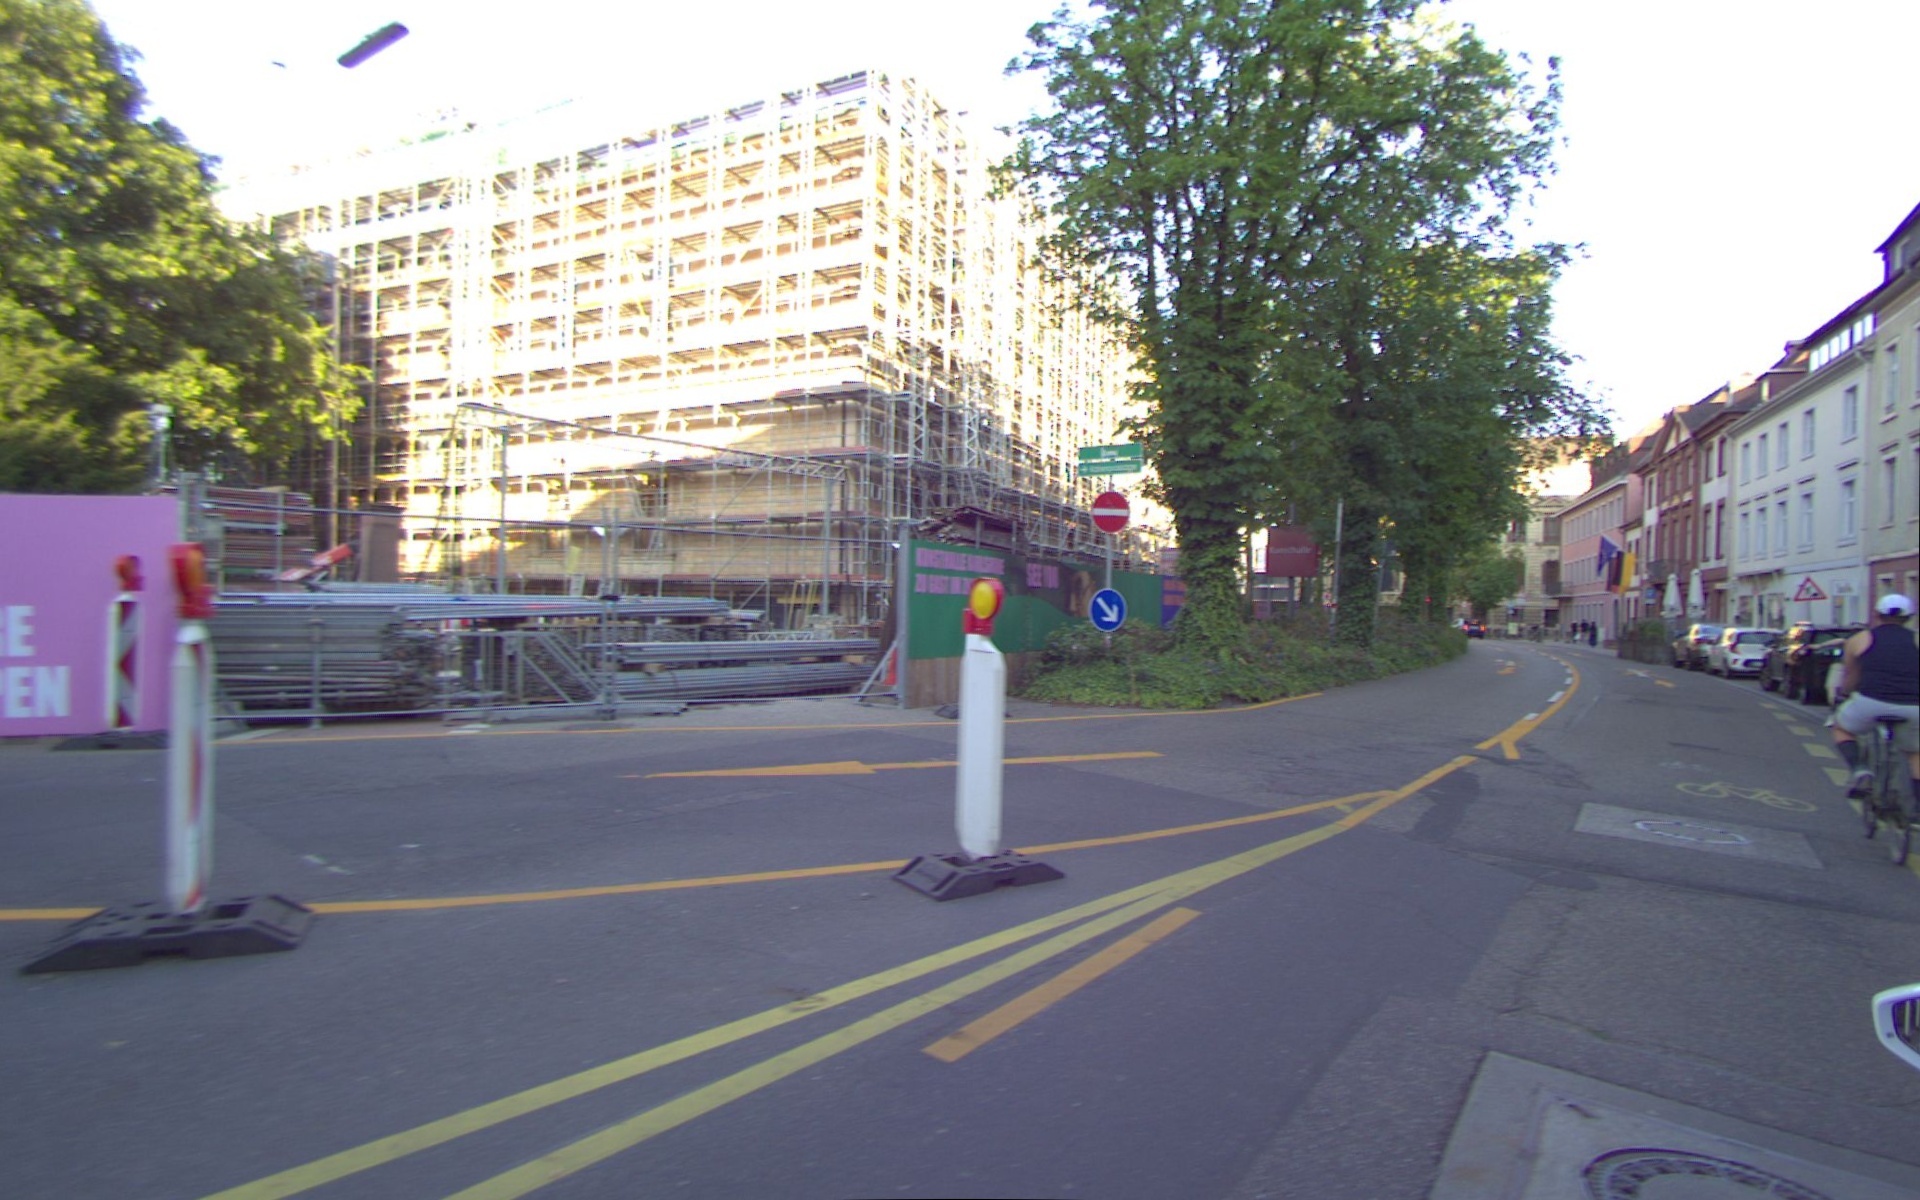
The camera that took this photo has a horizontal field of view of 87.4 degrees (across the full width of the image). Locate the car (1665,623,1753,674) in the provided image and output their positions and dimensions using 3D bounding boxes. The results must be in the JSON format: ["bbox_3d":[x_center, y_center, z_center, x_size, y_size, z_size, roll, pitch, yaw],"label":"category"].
[{"bbox_3d":[25.316,1.589,34.060,1.785,1.581,3.859,1,0,28],"label":"car"}]

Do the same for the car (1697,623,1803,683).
[{"bbox_3d":[23.424,1.508,29.922,1.785,1.581,3.859,1,0,28],"label":"car"}]

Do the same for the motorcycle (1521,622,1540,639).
[{"bbox_3d":[43.287,2.318,76.230,1.025,1.265,2.397,1,0,24],"label":"motorcycle"}]

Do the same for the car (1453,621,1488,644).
[{"bbox_3d":[39.073,2.455,76.909,1.782,1.581,3.865,1,0,18],"label":"car"}]

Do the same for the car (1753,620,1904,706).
[{"bbox_3d":[19.577,1.342,22.830,1.785,1.706,3.993,1,0,29],"label":"car"}]

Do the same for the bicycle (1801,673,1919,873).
[{"bbox_3d":[6.292,1.106,6.786,0.660,1.085,1.896,3,1,33],"label":"bicycle"}]

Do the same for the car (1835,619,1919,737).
[{"bbox_3d":[15.408,1.186,15.978,1.788,1.705,3.907,1,0,35],"label":"car"}]

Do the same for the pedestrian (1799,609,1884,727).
[{"bbox_3d":[14.870,1.116,16.977,0.887,1.890,0.930,1,0,32],"label":"pedestrian"}]

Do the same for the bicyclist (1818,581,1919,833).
[{"bbox_3d":[6.262,0.689,6.693,0.659,1.587,0.696,4,1,33],"label":"bicyclist"}]

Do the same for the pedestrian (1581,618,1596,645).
[{"bbox_3d":[43.178,2.170,69.008,0.738,1.785,0.585,1,0,27],"label":"pedestrian"}]

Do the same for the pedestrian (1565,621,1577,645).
[{"bbox_3d":[42.226,2.267,69.404,0.657,1.602,0.585,1,0,27],"label":"pedestrian"}]
